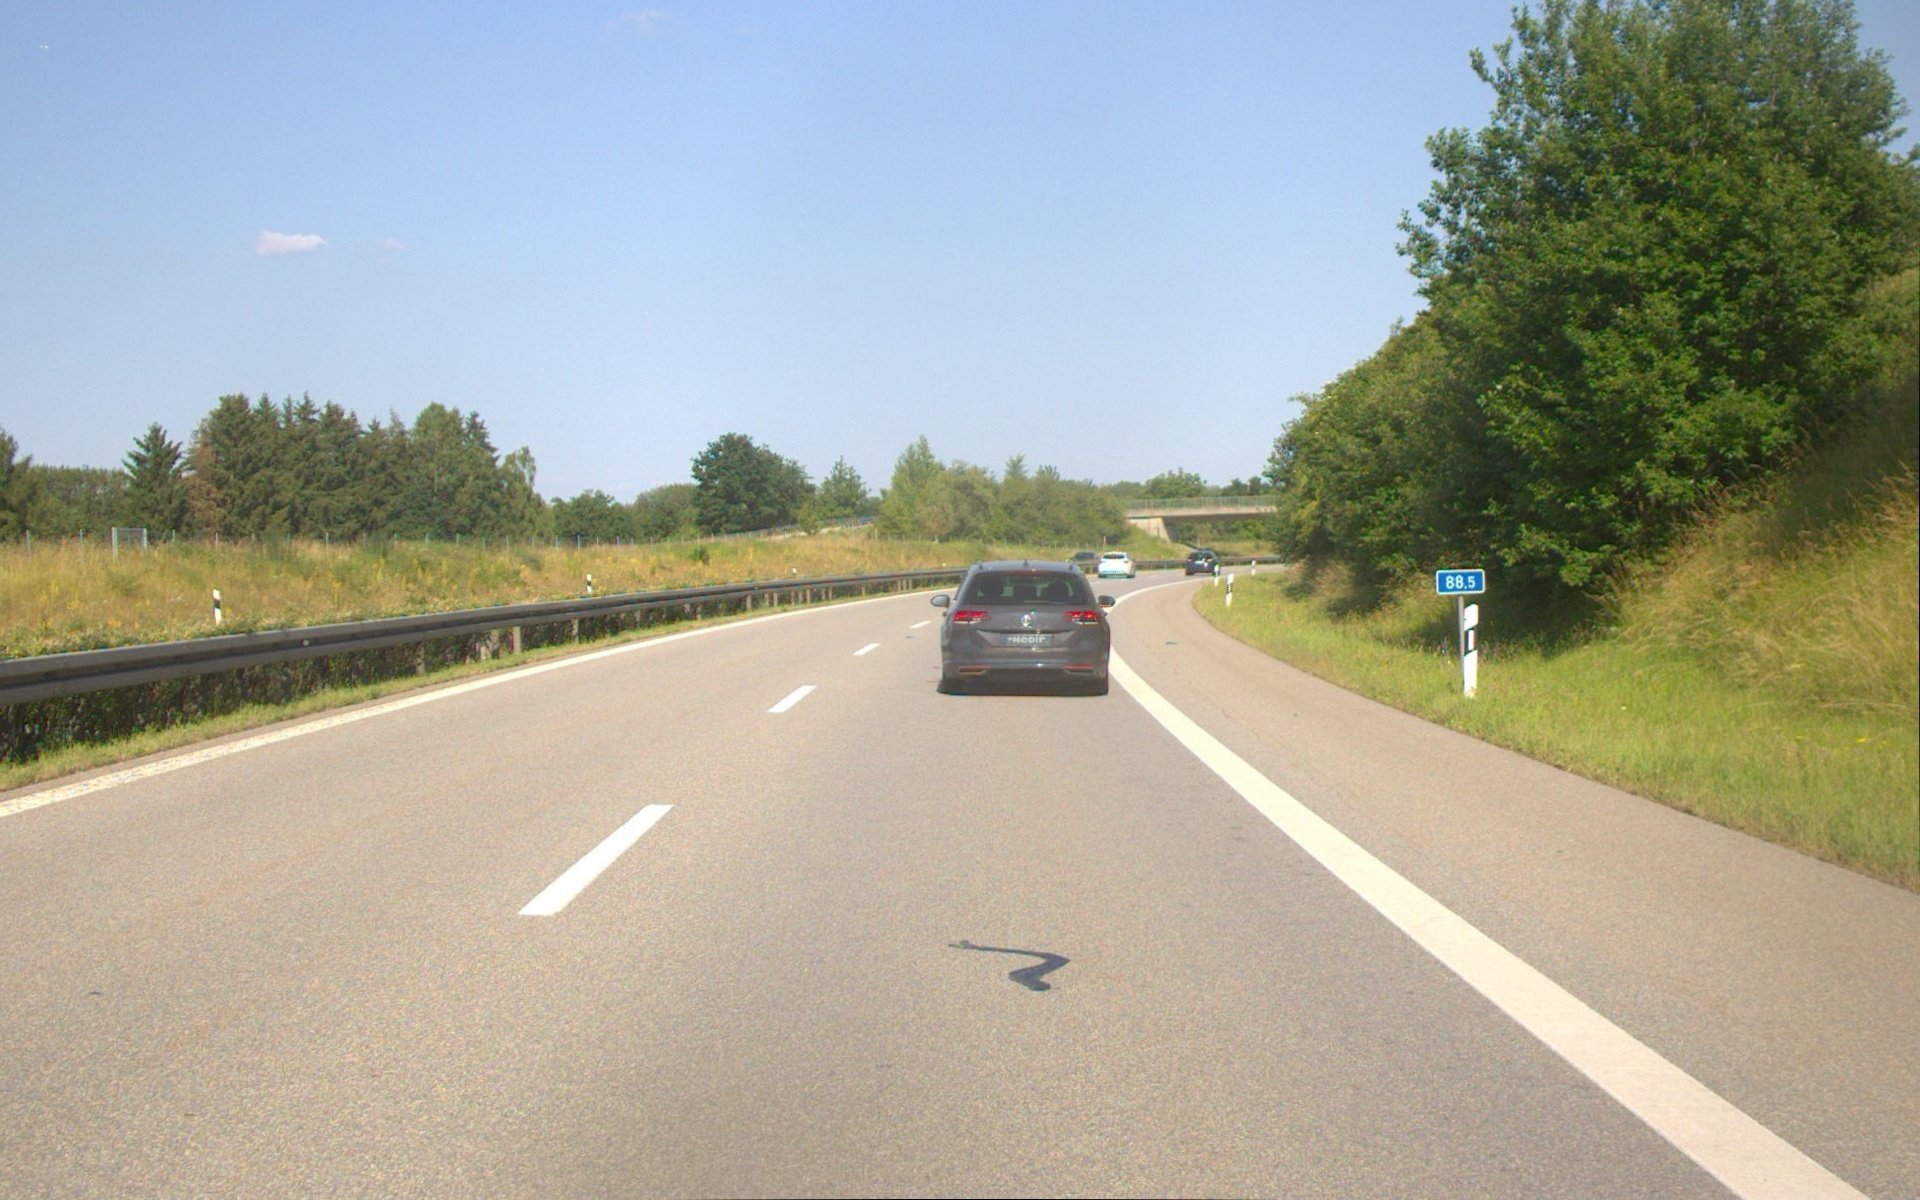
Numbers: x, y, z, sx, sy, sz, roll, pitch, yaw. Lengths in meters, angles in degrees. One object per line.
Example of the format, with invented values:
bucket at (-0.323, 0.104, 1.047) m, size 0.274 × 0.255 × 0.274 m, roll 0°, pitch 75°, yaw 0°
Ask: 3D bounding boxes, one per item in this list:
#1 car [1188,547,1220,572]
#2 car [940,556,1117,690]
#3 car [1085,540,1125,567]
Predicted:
car at (14.579, -2.424, 205.400) m, size 1.711 × 1.382 × 3.354 m, roll 1°, pitch 0°, yaw 6°
car at (0.774, 0.246, 37.403) m, size 1.791 × 1.340 × 4.000 m, roll 1°, pitch 0°, yaw 2°
car at (7.849, -2.506, 185.776) m, size 2.007 × 1.340 × 3.999 m, roll 1°, pitch 0°, yaw 5°
